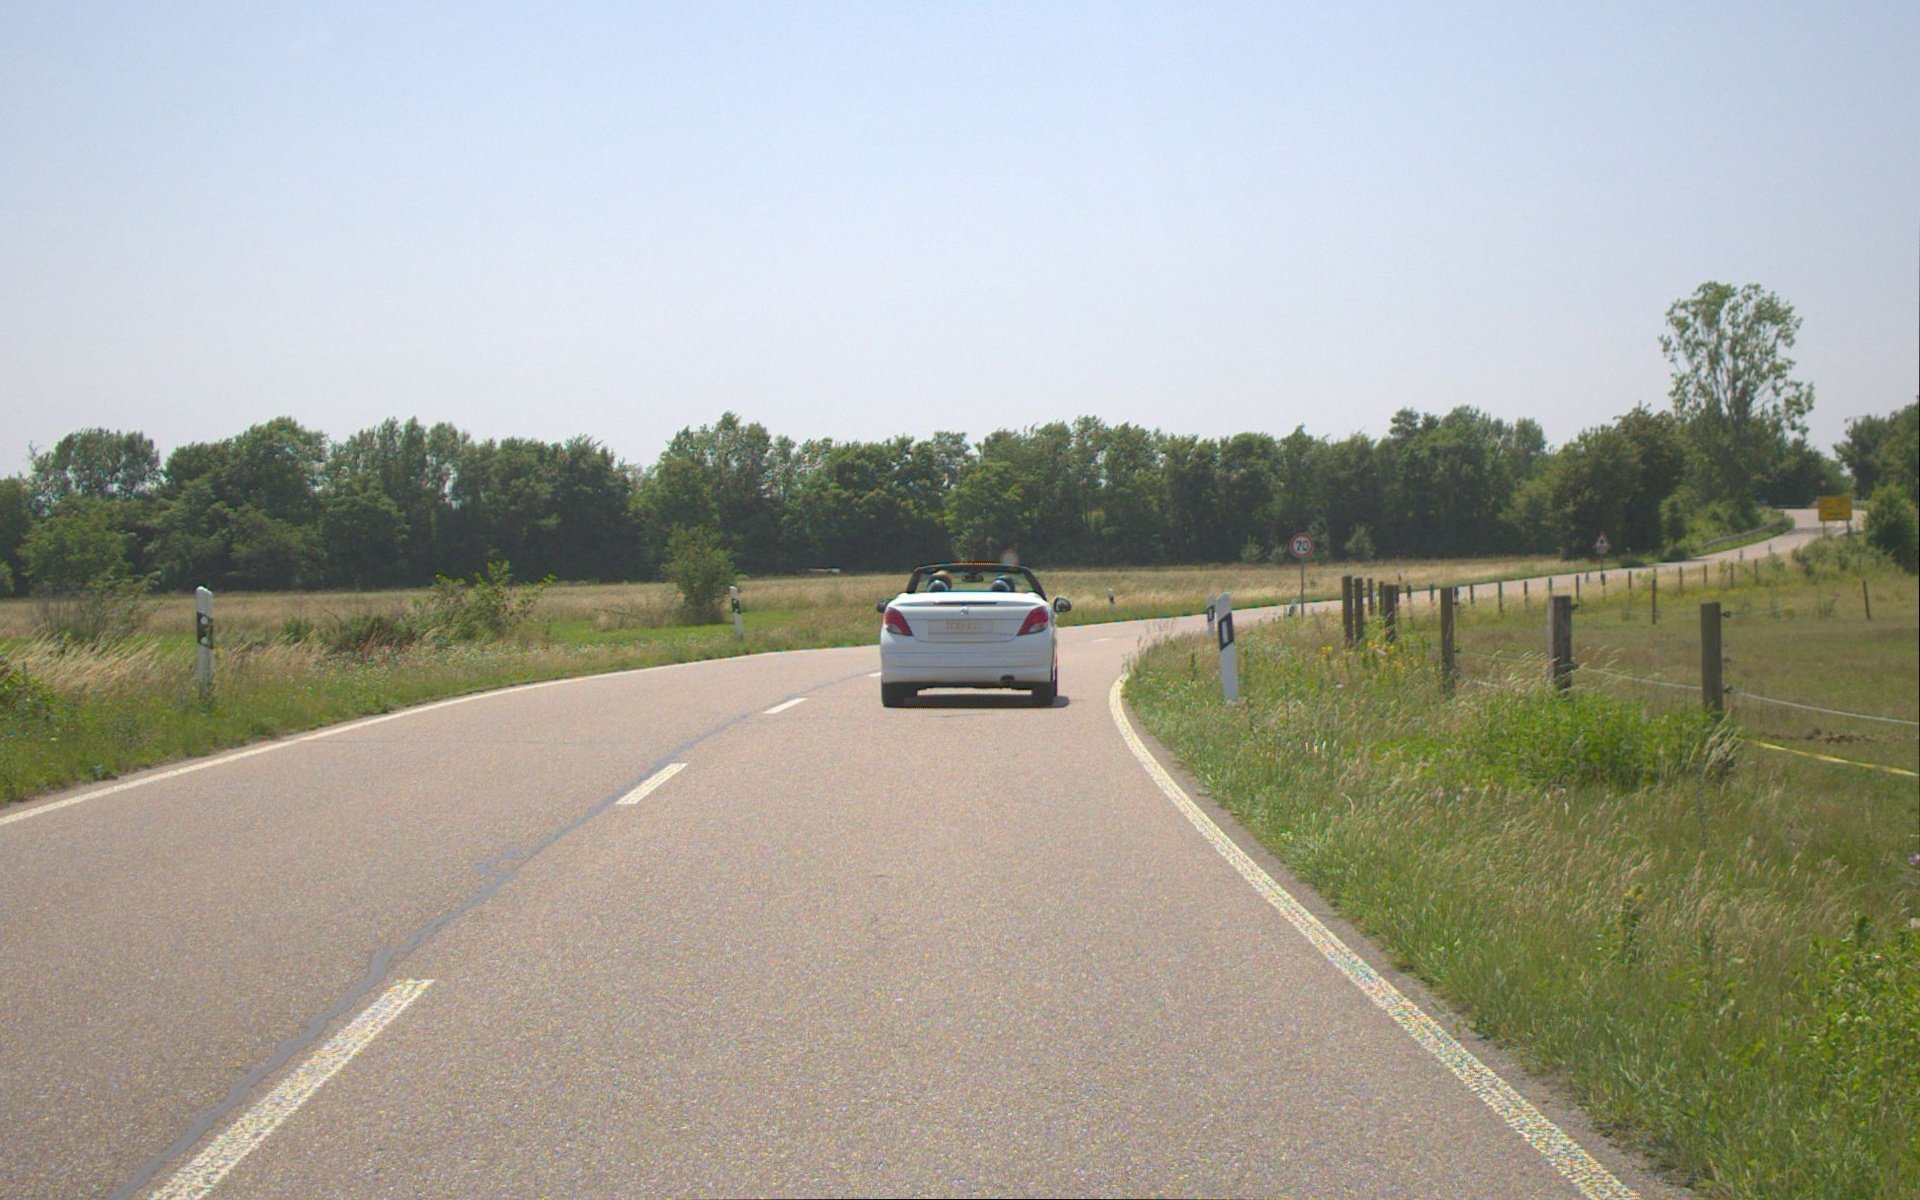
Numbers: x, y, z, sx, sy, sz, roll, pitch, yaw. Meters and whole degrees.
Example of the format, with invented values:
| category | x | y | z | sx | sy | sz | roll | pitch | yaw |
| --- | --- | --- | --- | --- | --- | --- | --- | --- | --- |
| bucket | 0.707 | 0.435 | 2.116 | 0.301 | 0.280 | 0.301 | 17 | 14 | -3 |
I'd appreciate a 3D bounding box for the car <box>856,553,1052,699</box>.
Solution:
| category | x | y | z | sx | sy | sz | roll | pitch | yaw |
| --- | --- | --- | --- | --- | --- | --- | --- | --- | --- |
| car | -0.007 | 0.228 | 34.577 | 1.851 | 1.374 | 4.000 | 0 | 1 | 2 |
